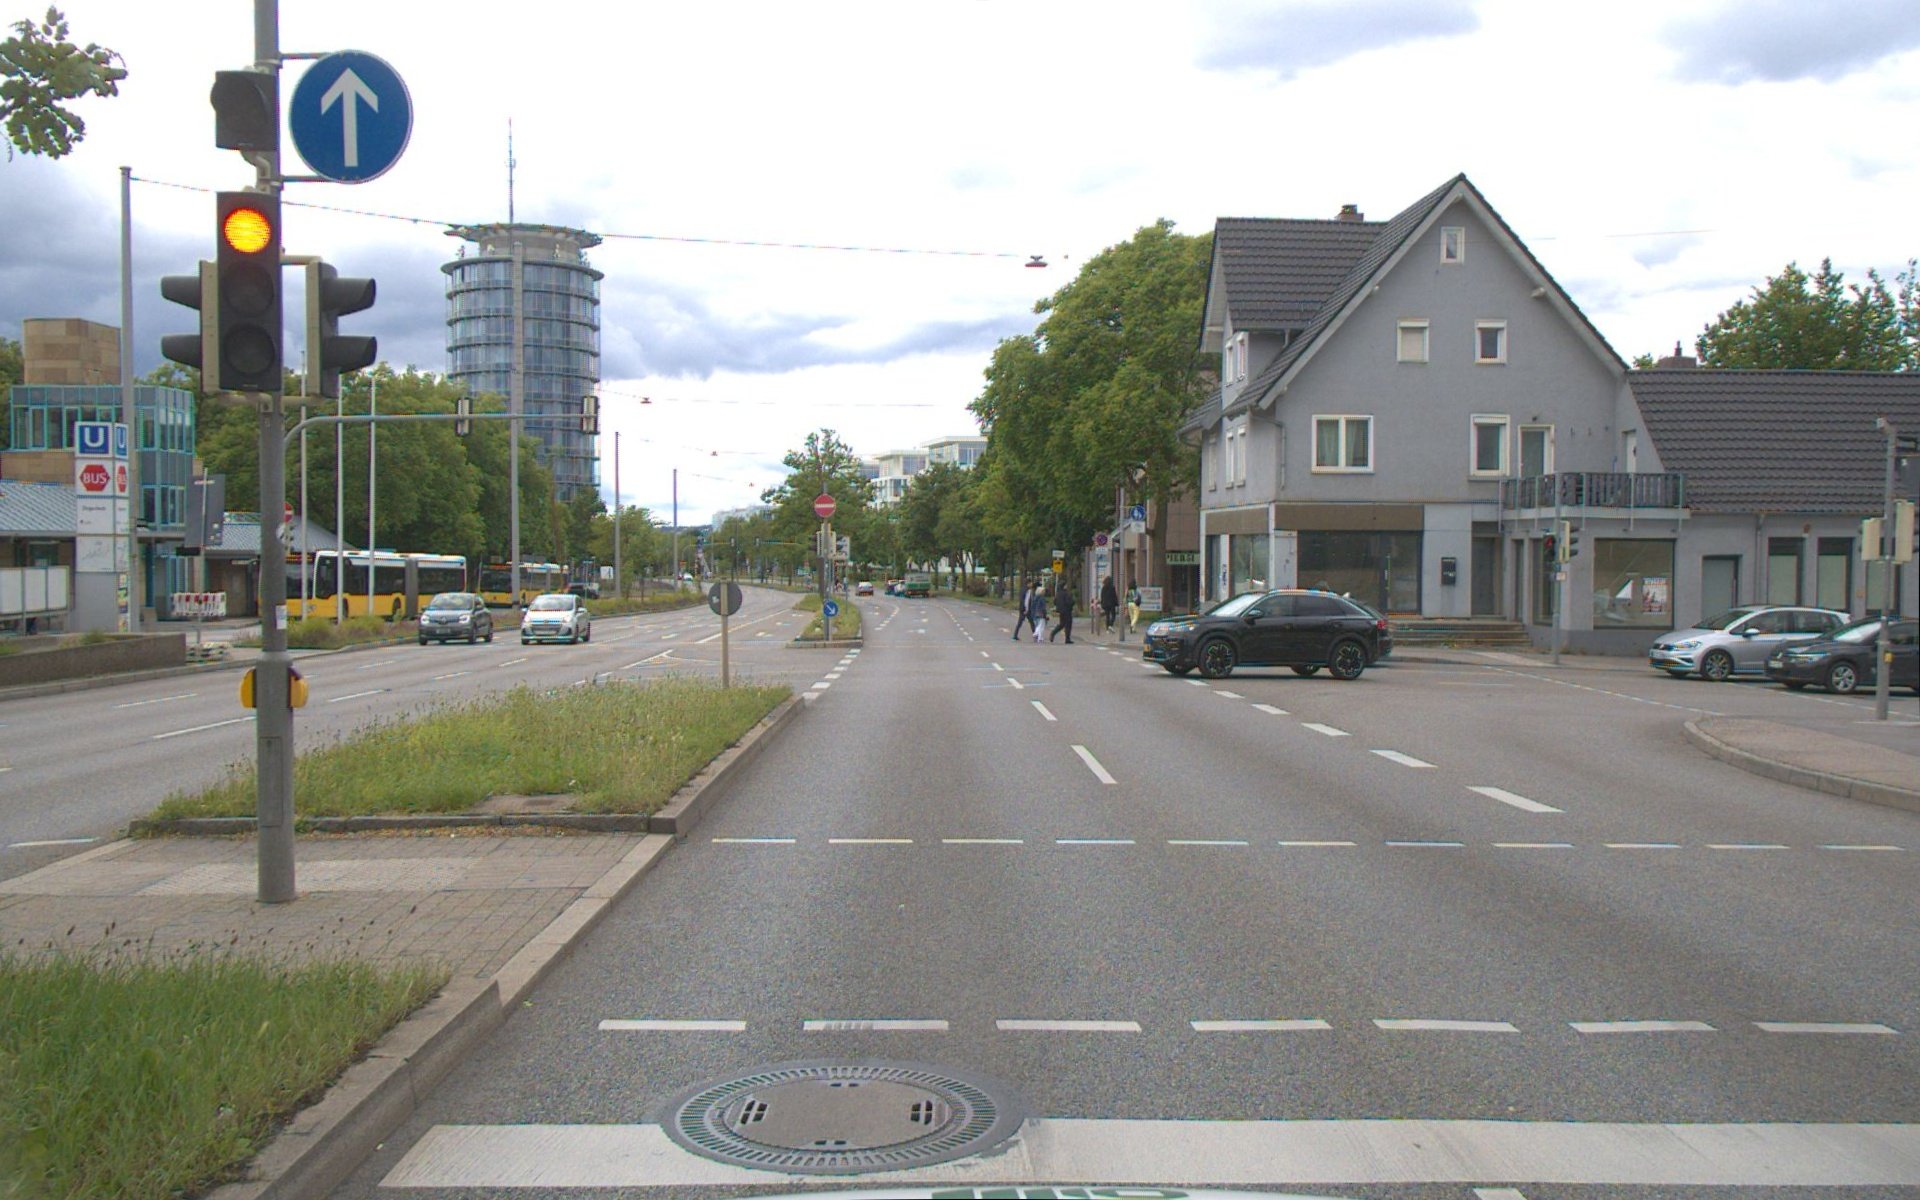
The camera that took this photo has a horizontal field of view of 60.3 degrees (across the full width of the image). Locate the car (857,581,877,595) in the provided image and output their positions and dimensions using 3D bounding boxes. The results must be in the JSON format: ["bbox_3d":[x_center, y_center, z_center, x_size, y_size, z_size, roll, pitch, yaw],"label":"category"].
[{"bbox_3d":[-9.710,-1.260,173.050,1.929,1.444,4.017,0,0,-6],"label":"car"}]

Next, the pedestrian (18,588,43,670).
[{"bbox_3d":[-18.551,0.578,33.003,0.414,1.619,0.353,0,0,-30],"label":"pedestrian"}]

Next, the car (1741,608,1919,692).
[{"bbox_3d":[17.710,0.957,32.191,4.188,1.506,1.714,1,1,-2],"label":"car"}]

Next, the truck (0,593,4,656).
[{"bbox_3d":[-24.576,0.616,38.856,1.953,1.544,3.999,0,0,-1],"label":"truck"}]

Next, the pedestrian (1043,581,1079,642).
[{"bbox_3d":[3.051,0.339,50.062,0.856,1.811,0.702,0,0,-23],"label":"pedestrian"}]

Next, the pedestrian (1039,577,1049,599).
[{"bbox_3d":[6.271,-0.886,123.663,0.638,1.597,0.669,0,0,-9],"label":"pedestrian"}]

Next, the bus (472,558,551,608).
[{"bbox_3d":[-30.776,-1.117,114.015,3.082,3.281,10.279,0,0,-3],"label":"bus"}]

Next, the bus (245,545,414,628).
[{"bbox_3d":[-27.077,-0.561,71.696,2.927,3.307,10.174,-1,0,3],"label":"bus"}]

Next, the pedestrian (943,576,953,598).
[{"bbox_3d":[-1.324,-1.428,183.463,0.914,2.349,1.008,1,-1,-10],"label":"pedestrian"}]

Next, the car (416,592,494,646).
[{"bbox_3d":[-15.469,0.563,50.815,1.652,1.606,3.344,0,0,-6],"label":"car"}]

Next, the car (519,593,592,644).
[{"bbox_3d":[-12.361,0.548,50.727,1.651,1.488,3.552,0,0,-5],"label":"car"}]

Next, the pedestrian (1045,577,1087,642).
[{"bbox_3d":[2.948,0.250,46.224,1.030,1.791,0.706,0,0,-10],"label":"pedestrian"}]

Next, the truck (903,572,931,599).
[{"bbox_3d":[-3.970,-1.353,152.532,2.207,2.459,4.927,0,0,-5],"label":"truck"}]

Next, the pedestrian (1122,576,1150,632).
[{"bbox_3d":[5.361,0.114,50.424,0.691,1.691,0.869,0,0,-4],"label":"pedestrian"}]

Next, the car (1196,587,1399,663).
[{"bbox_3d":[7.060,0.514,34.973,3.999,1.521,1.896,0,0,4],"label":"car"}]

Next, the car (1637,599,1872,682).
[{"bbox_3d":[16.625,0.831,34.746,4.016,1.567,1.829,2,0,1],"label":"car"}]

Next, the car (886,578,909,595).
[{"bbox_3d":[-6.589,-1.390,173.781,2.207,1.676,4.927,0,0,-6],"label":"car"}]

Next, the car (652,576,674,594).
[{"bbox_3d":[-35.892,-1.828,199.745,1.925,2.049,3.999,1,0,-1],"label":"car"}]

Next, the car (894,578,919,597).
[{"bbox_3d":[-5.321,-1.238,163.692,2.207,1.787,4.927,0,0,-5],"label":"car"}]

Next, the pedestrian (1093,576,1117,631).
[{"bbox_3d":[4.460,0.103,50.786,0.690,1.691,0.870,0,0,2],"label":"pedestrian"}]

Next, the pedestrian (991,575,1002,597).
[{"bbox_3d":[3.388,-1.278,154.097,0.951,2.049,0.981,1,-1,-2],"label":"pedestrian"}]

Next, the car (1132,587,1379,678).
[{"bbox_3d":[5.287,0.541,29.697,3.994,1.547,1.832,0,1,-17],"label":"car"}]

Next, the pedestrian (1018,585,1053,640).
[{"bbox_3d":[2.159,0.350,47.196,0.851,1.533,0.706,0,0,-10],"label":"pedestrian"}]

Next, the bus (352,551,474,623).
[{"bbox_3d":[-26.539,-0.613,80.720,2.927,3.327,7.879,-1,0,3],"label":"bus"}]

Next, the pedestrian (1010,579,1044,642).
[{"bbox_3d":[1.952,0.311,47.954,0.851,1.811,0.706,0,0,-10],"label":"pedestrian"}]

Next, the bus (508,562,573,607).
[{"bbox_3d":[-31.137,-1.132,123.013,3.081,3.281,7.762,0,0,-2],"label":"bus"}]

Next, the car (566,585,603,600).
[{"bbox_3d":[-37.573,-0.747,165.671,3.484,1.518,1.704,-1,0,-9],"label":"car"}]

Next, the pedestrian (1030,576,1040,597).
[{"bbox_3d":[5.606,-1.004,123.601,0.638,1.597,0.669,0,0,-9],"label":"pedestrian"}]
